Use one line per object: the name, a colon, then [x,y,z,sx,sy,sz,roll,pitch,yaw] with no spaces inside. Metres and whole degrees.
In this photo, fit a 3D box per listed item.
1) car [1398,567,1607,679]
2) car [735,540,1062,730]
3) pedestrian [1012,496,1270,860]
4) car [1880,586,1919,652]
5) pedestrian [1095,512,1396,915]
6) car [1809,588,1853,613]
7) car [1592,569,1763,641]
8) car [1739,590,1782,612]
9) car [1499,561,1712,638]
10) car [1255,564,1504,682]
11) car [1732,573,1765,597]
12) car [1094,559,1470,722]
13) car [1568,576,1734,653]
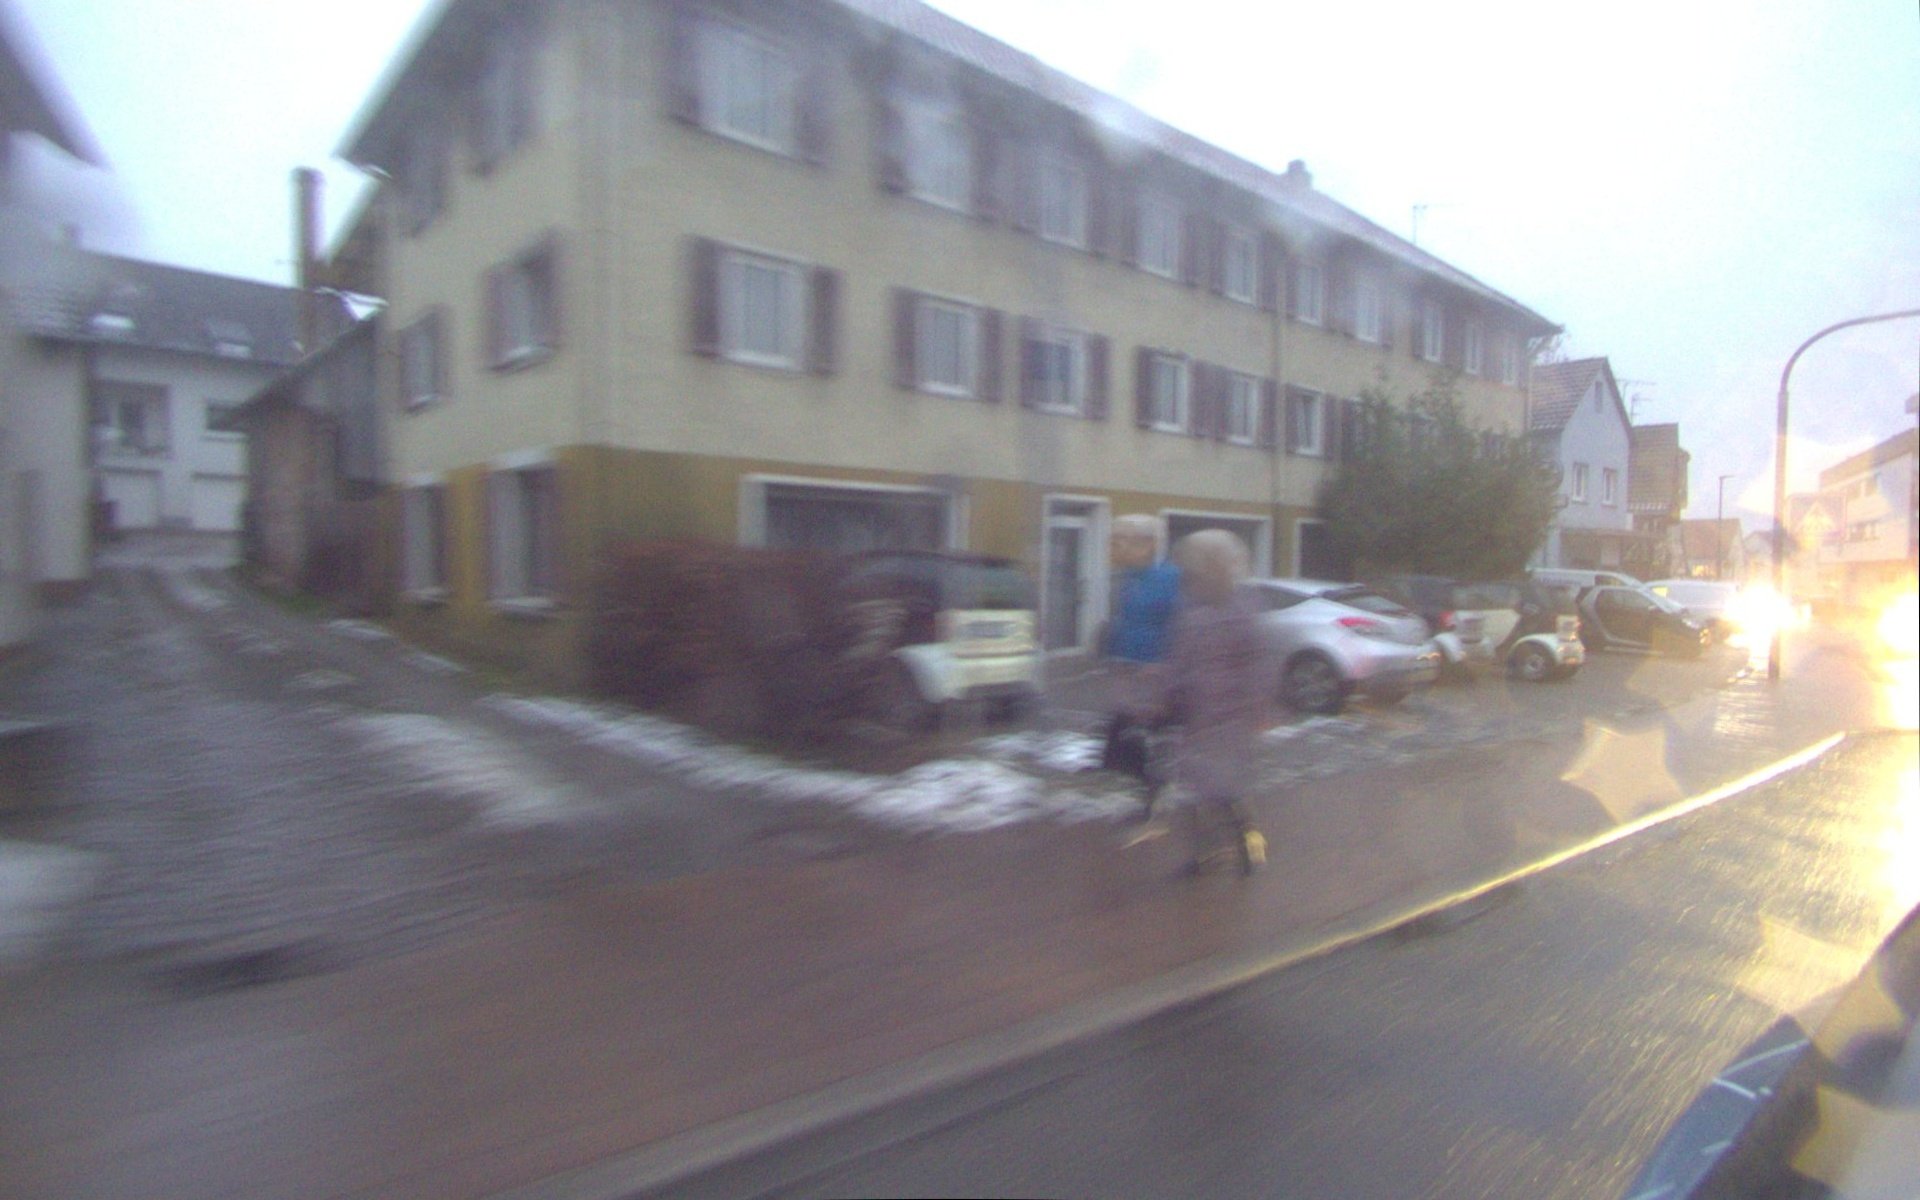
car: [8.751,0.313,16.409,1.525,1.566,2.587,1,3,-43]
car: [-0.725,0.208,9.928,1.559,1.492,3.224,0,3,-40]
pedestrian: [0.963,0.351,5.475,0.953,1.754,0.852,1,4,-35]
car: [25.606,0.471,26.256,1.910,1.638,3.824,1,1,32]
pedestrian: [1.356,0.456,4.865,0.973,1.686,0.870,1,4,-35]
car: [60.629,0.018,70.503,1.888,1.637,3.779,1,1,35]
car: [22.076,0.090,31.217,4.042,1.865,1.835,5,4,42]
car: [55.166,0.064,69.796,1.888,1.484,3.954,1,1,32]
car: [19.201,-0.064,30.285,1.904,1.912,4.989,1,3,-43]
car: [6.221,0.266,15.215,1.522,1.492,3.072,0,3,-40]
car: [67.485,-1.295,86.641,1.825,2.039,3.657,1,1,32]
car: [3.644,0.335,12.011,1.720,1.492,3.909,0,3,-40]
car: [15.417,0.285,22.651,1.403,1.492,2.768,0,3,-42]
